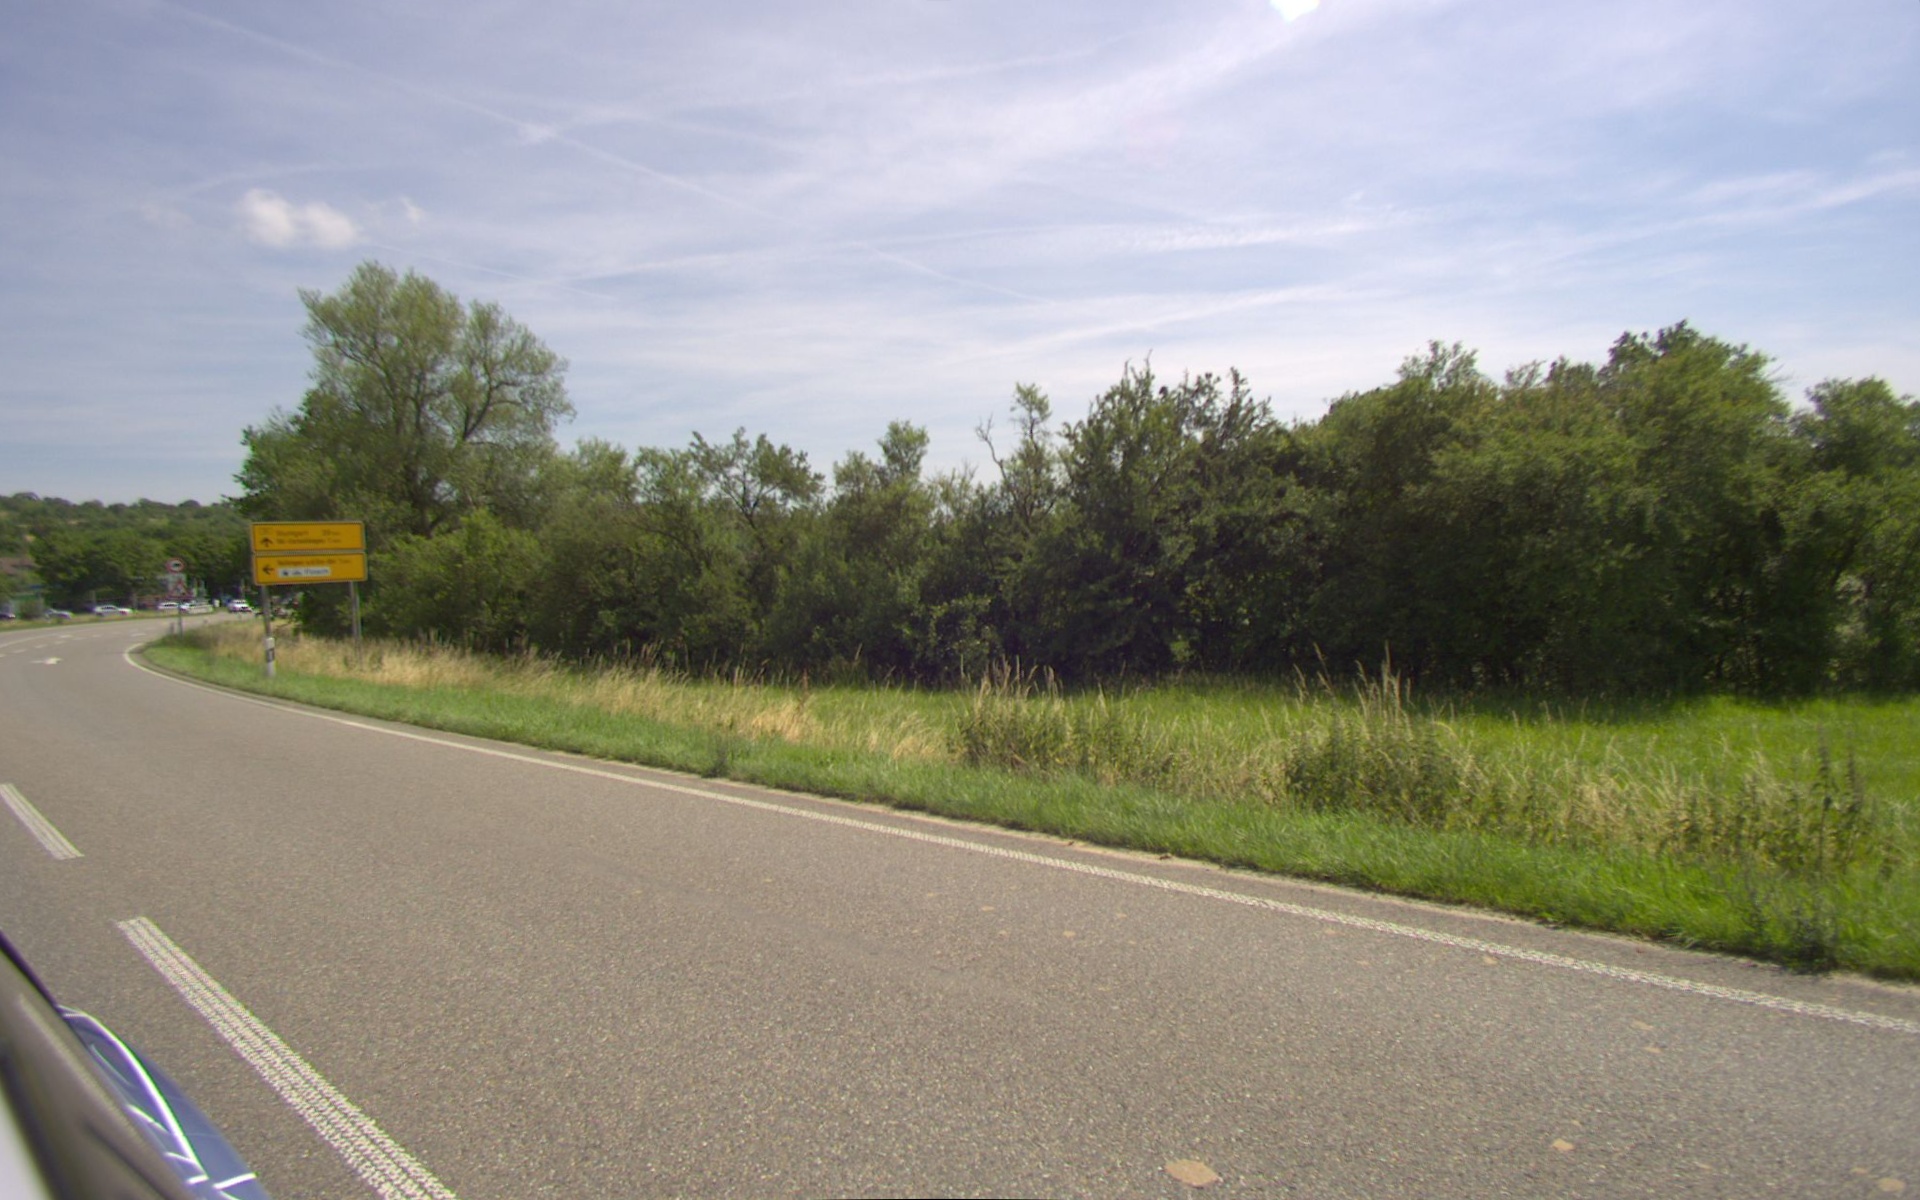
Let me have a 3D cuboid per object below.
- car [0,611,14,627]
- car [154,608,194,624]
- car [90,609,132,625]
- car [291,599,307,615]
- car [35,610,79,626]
[{"bbox_3d":[-125.241,2.520,131.007,3.939,2.029,1.890,-1,0,-43],"label":"car"},{"bbox_3d":[-107.478,2.163,138.426,3.931,2.029,1.894,-1,0,-21],"label":"car"},{"bbox_3d":[-114.017,2.311,135.941,3.931,2.029,1.894,-1,0,-21],"label":"car"},{"bbox_3d":[-92.893,1.036,142.262,1.856,2.029,4.010,0,-3,-33],"label":"car"},{"bbox_3d":[-119.371,2.372,133.842,3.930,2.029,1.894,-1,0,-24],"label":"car"}]
